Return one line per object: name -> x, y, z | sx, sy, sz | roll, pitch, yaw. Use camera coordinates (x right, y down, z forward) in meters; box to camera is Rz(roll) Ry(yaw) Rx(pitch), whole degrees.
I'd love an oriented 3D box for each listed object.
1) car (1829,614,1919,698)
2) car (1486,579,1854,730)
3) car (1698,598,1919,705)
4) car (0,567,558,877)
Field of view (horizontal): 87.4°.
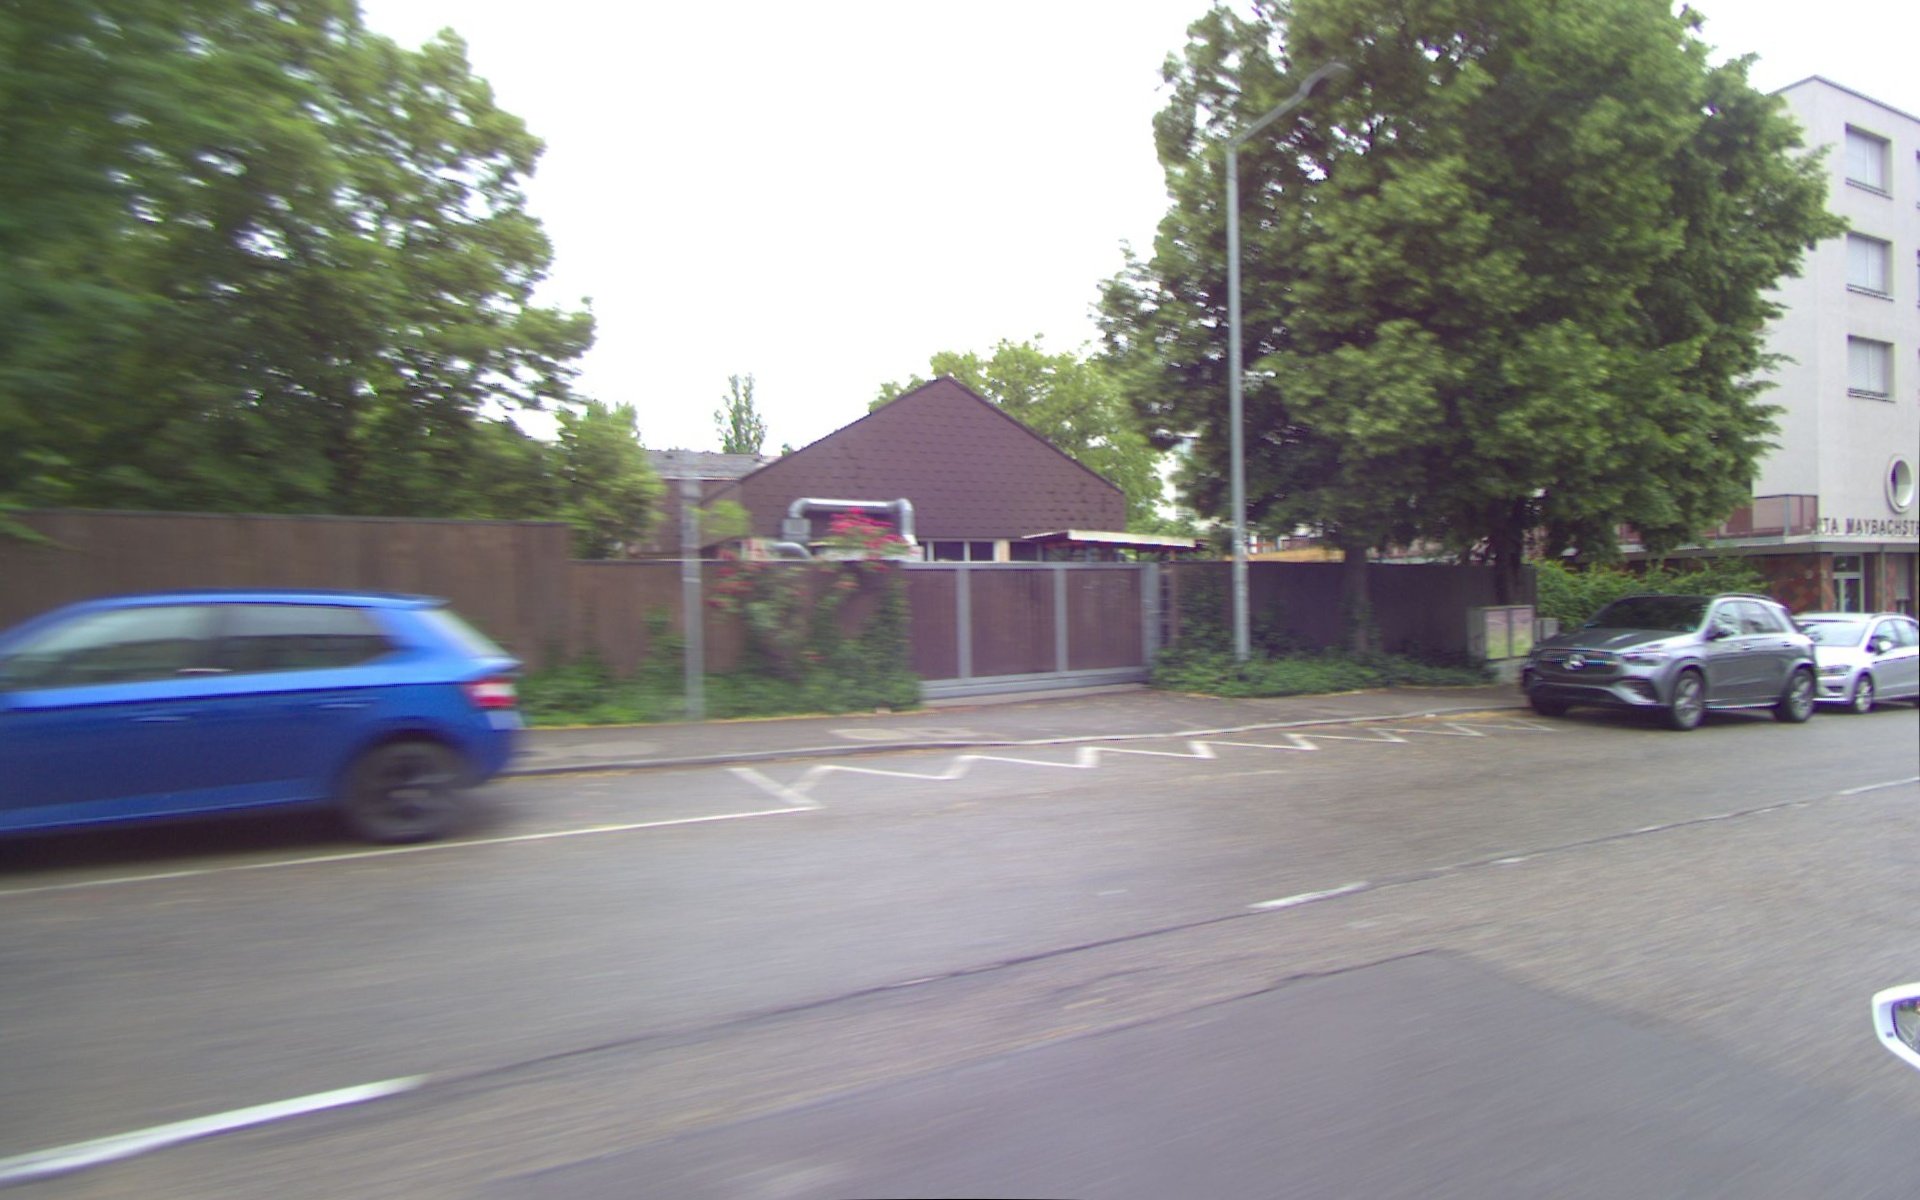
car -> 18.832, 1.061, 19.370 | 3.799, 1.482, 1.872 | 1, 0, -28
car -> 10.031, 0.694, 14.094 | 5.342, 1.810, 1.986 | 1, 0, -28
car -> 14.929, 0.829, 17.204 | 4.434, 1.614, 1.981 | 1, 0, -28
car -> -4.700, 0.581, 5.905 | 4.134, 1.489, 1.985 | 1, 0, -29
